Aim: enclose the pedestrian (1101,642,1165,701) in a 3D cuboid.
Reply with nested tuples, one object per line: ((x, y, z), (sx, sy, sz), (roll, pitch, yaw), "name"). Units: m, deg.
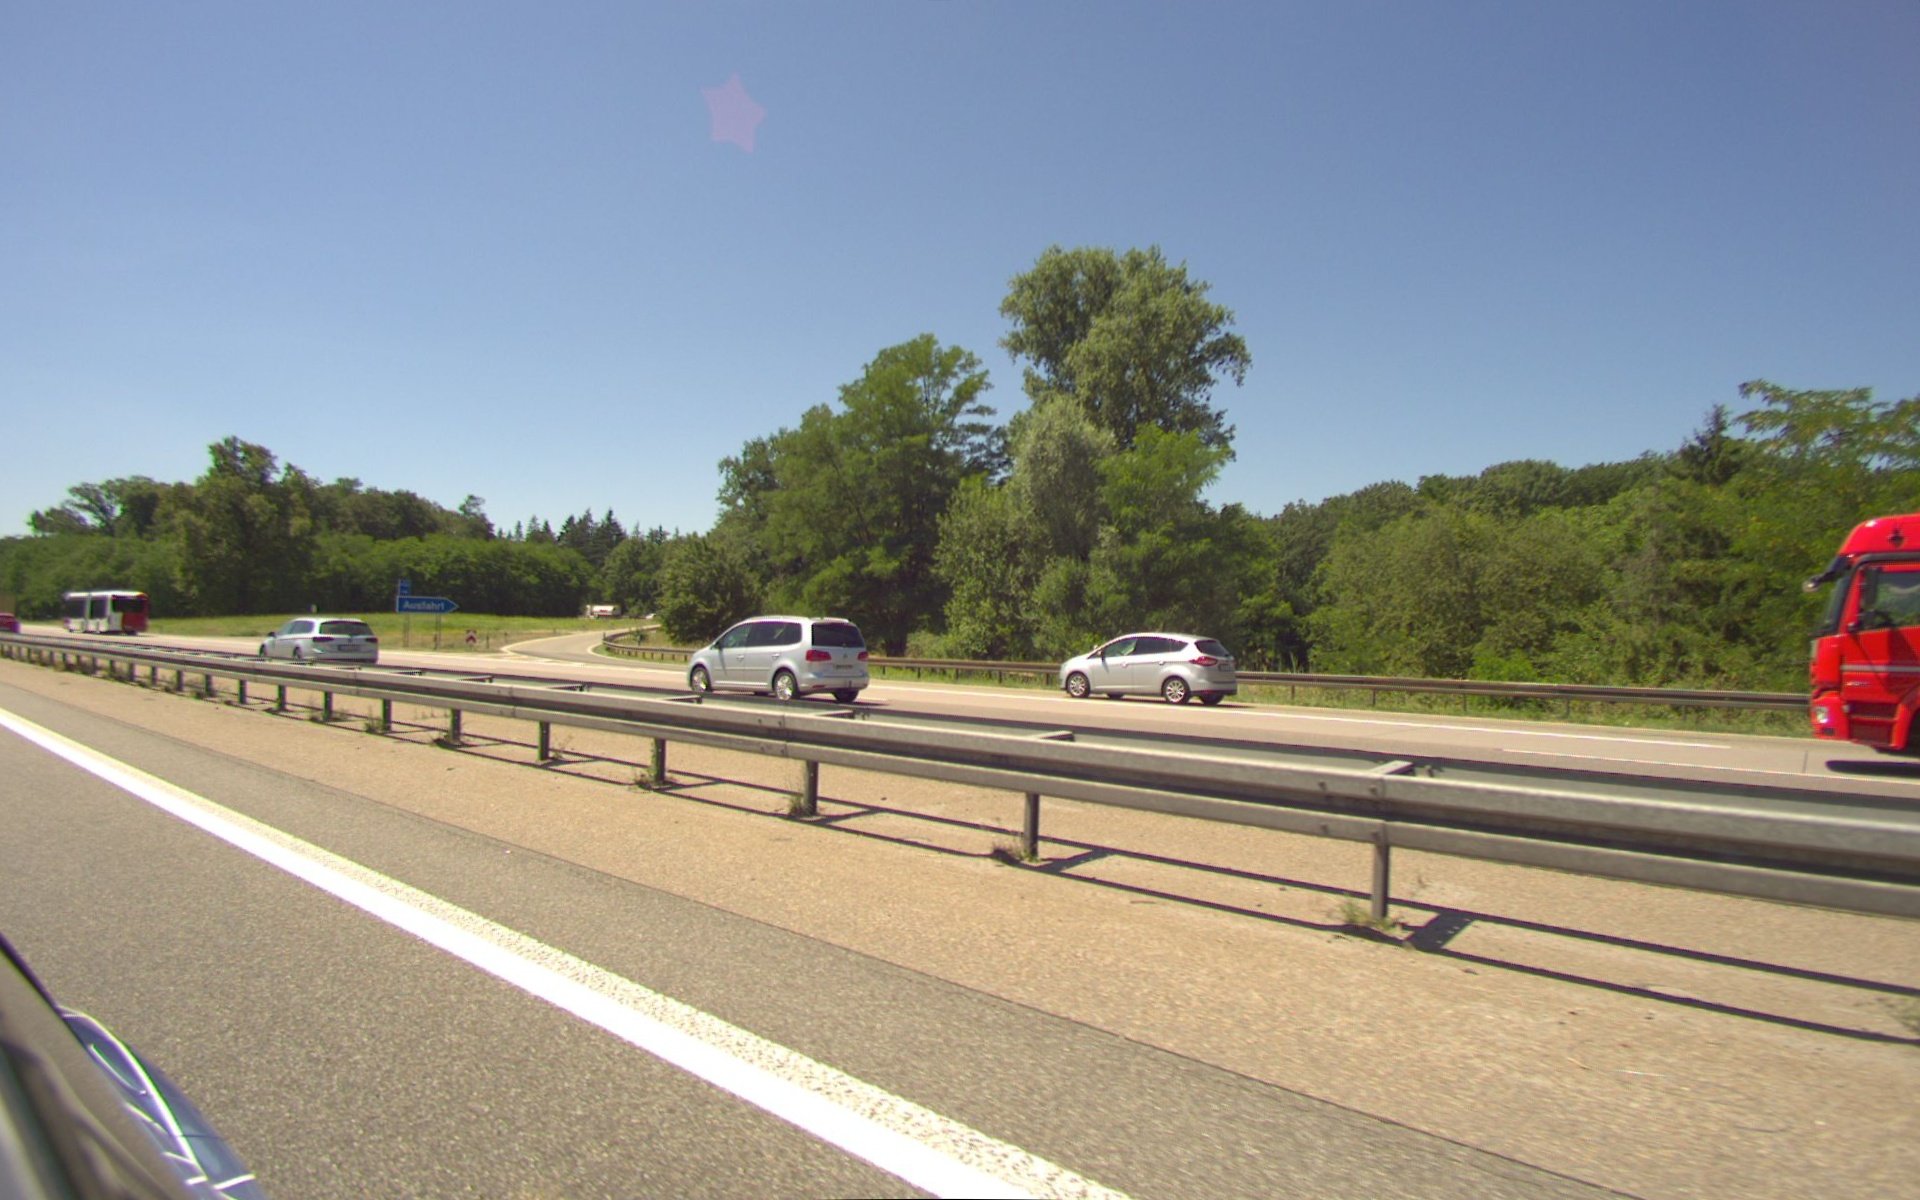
((4.376, 1.800, 25.691), (1.420, 1.413, 0.766), (-1, -2, 44), "pedestrian")

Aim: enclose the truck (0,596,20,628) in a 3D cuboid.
((-122.692, 1.504, 128.621), (15.613, 3.905, 3.051), (-1, 0, 41), "truck")

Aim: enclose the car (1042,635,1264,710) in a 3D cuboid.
((4.399, 1.626, 23.475), (4.718, 1.521, 1.973), (-1, -4, 41), "car")

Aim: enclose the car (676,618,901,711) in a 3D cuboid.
((-3.487, 1.209, 20.102), (4.542, 1.638, 1.973), (-1, -3, 41), "car")

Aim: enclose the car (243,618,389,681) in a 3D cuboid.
((-17.636, 1.286, 27.611), (5.221, 1.564, 1.973), (-1, -2, 41), "car")

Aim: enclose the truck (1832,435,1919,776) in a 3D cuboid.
((14.728, 0.086, 9.520), (9.799, 3.755, 3.032), (-1, -4, 41), "truck")

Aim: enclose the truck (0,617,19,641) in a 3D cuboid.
((-64.438, 1.923, 67.650), (4.308, 1.575, 1.811), (-1, -2, 42), "truck")

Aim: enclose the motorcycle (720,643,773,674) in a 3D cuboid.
((-8.205, 2.225, 38.824), (2.395, 1.120, 0.770), (-1, -2, 44), "motorcycle")

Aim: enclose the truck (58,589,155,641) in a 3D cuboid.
((-70.629, 1.233, 83.490), (17.532, 3.905, 3.052), (-1, -2, 40), "truck")
